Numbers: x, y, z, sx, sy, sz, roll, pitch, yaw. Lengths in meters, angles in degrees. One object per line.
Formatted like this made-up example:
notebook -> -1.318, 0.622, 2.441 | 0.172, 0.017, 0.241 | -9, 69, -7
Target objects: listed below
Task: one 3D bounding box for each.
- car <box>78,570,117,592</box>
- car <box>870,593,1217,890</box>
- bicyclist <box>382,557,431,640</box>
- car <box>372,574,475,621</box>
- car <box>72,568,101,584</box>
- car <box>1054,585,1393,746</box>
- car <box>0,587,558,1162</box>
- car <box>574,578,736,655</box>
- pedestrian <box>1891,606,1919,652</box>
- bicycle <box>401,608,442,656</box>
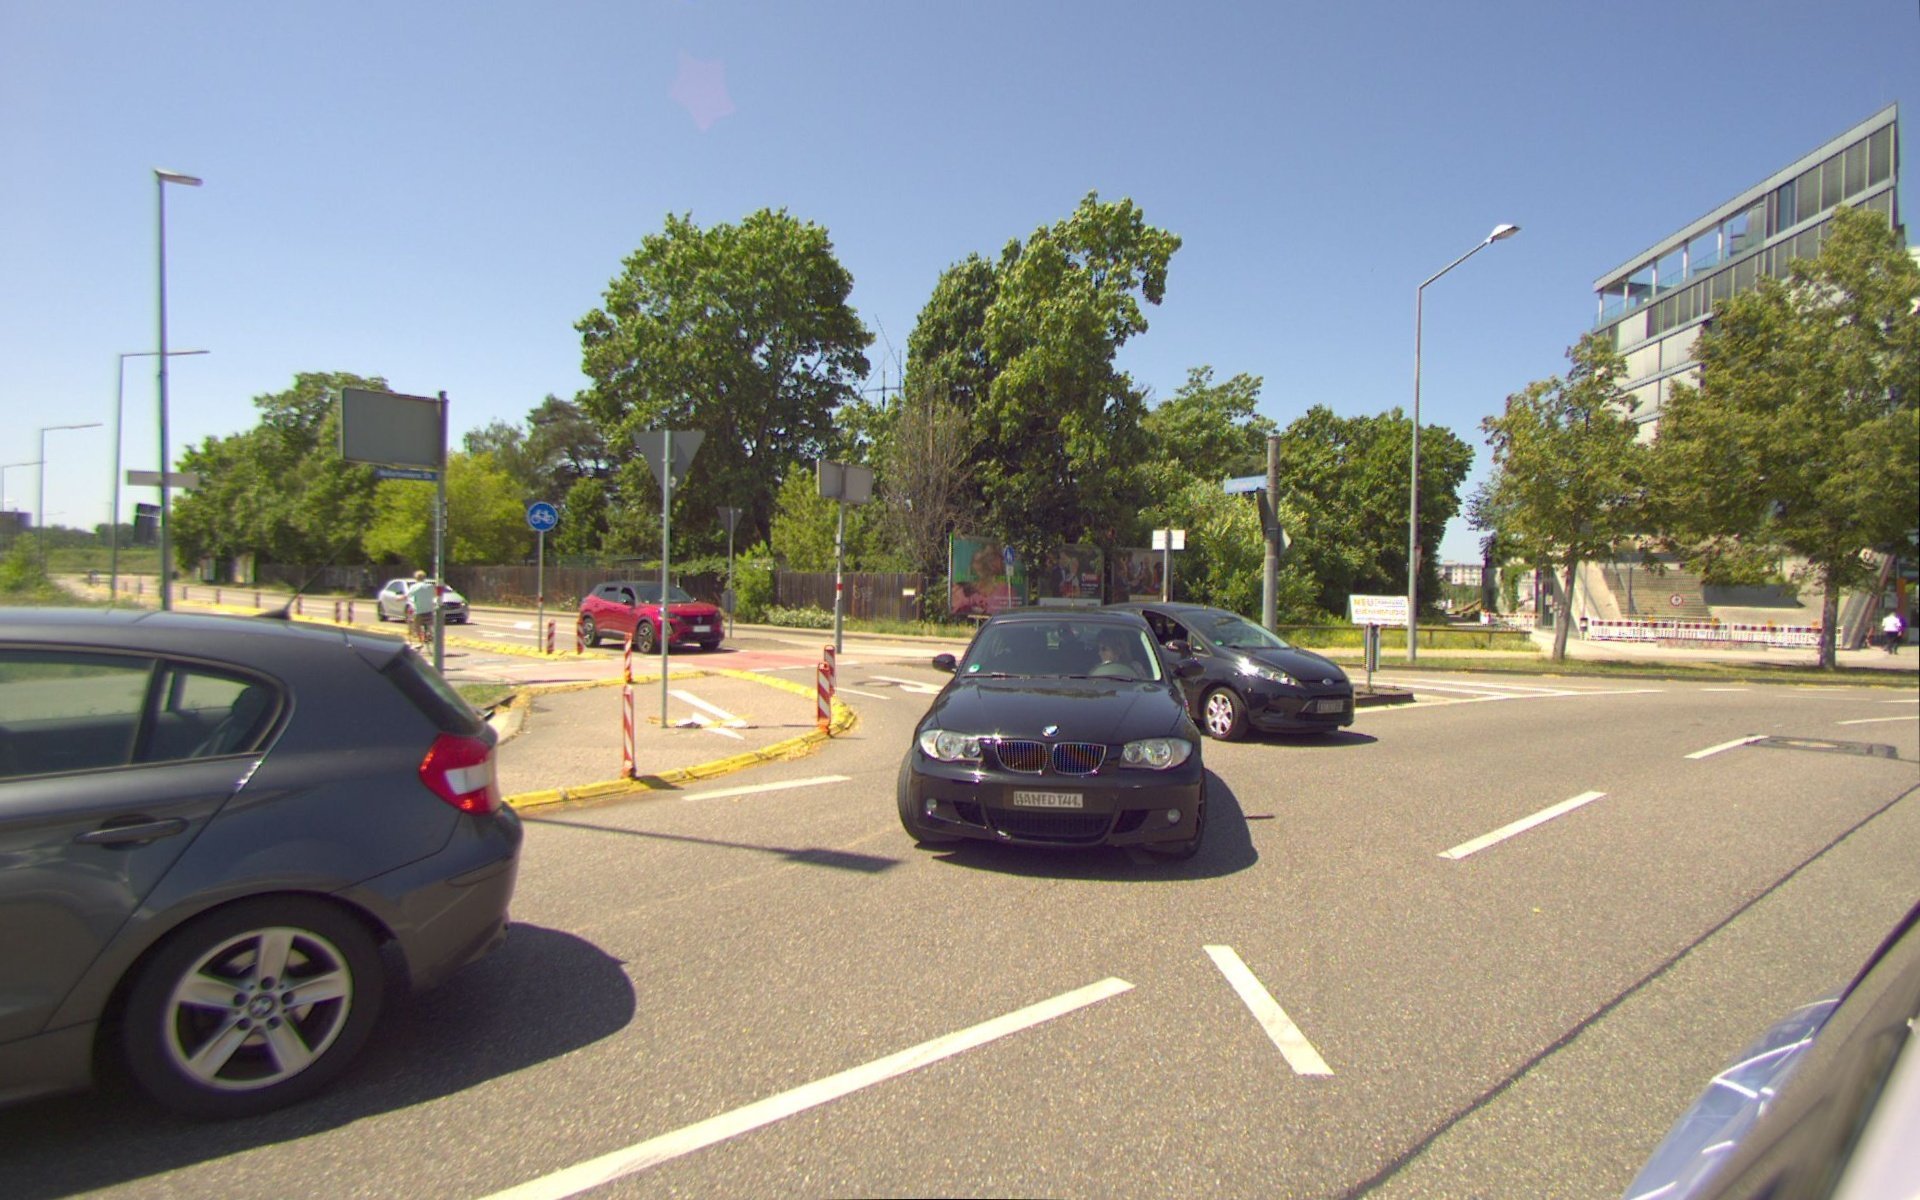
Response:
car -> -65.385, -1.448, 76.669 | 3.679, 1.564, 1.733 | 2, 1, 41
car -> 0.754, 0.684, 7.131 | 1.774, 1.458, 3.987 | 0, 0, 11
bicyclist -> -11.439, -0.041, 20.951 | 0.733, 1.661, 1.165 | 1, 0, -22
car -> -17.706, -0.134, 33.337 | 3.986, 1.446, 1.835 | 2, 2, 43
car -> -88.813, -2.477, 102.932 | 3.679, 1.564, 1.733 | 2, 1, 41
car -> 2.881, 0.624, 11.852 | 1.601, 1.527, 3.823 | 1, 1, -30
car -> -3.438, 0.665, 2.807 | 4.004, 1.421, 1.753 | 1, 0, -36
car -> -6.963, 0.290, 22.867 | 4.198, 1.546, 1.694 | 2, 2, 44
pedestrian -> 40.758, 1.239, 43.552 | 0.600, 1.892, 0.835 | 0, 2, -32
bicycle -> -11.270, 0.650, 21.222 | 0.616, 0.890, 1.880 | 1, 1, -23
